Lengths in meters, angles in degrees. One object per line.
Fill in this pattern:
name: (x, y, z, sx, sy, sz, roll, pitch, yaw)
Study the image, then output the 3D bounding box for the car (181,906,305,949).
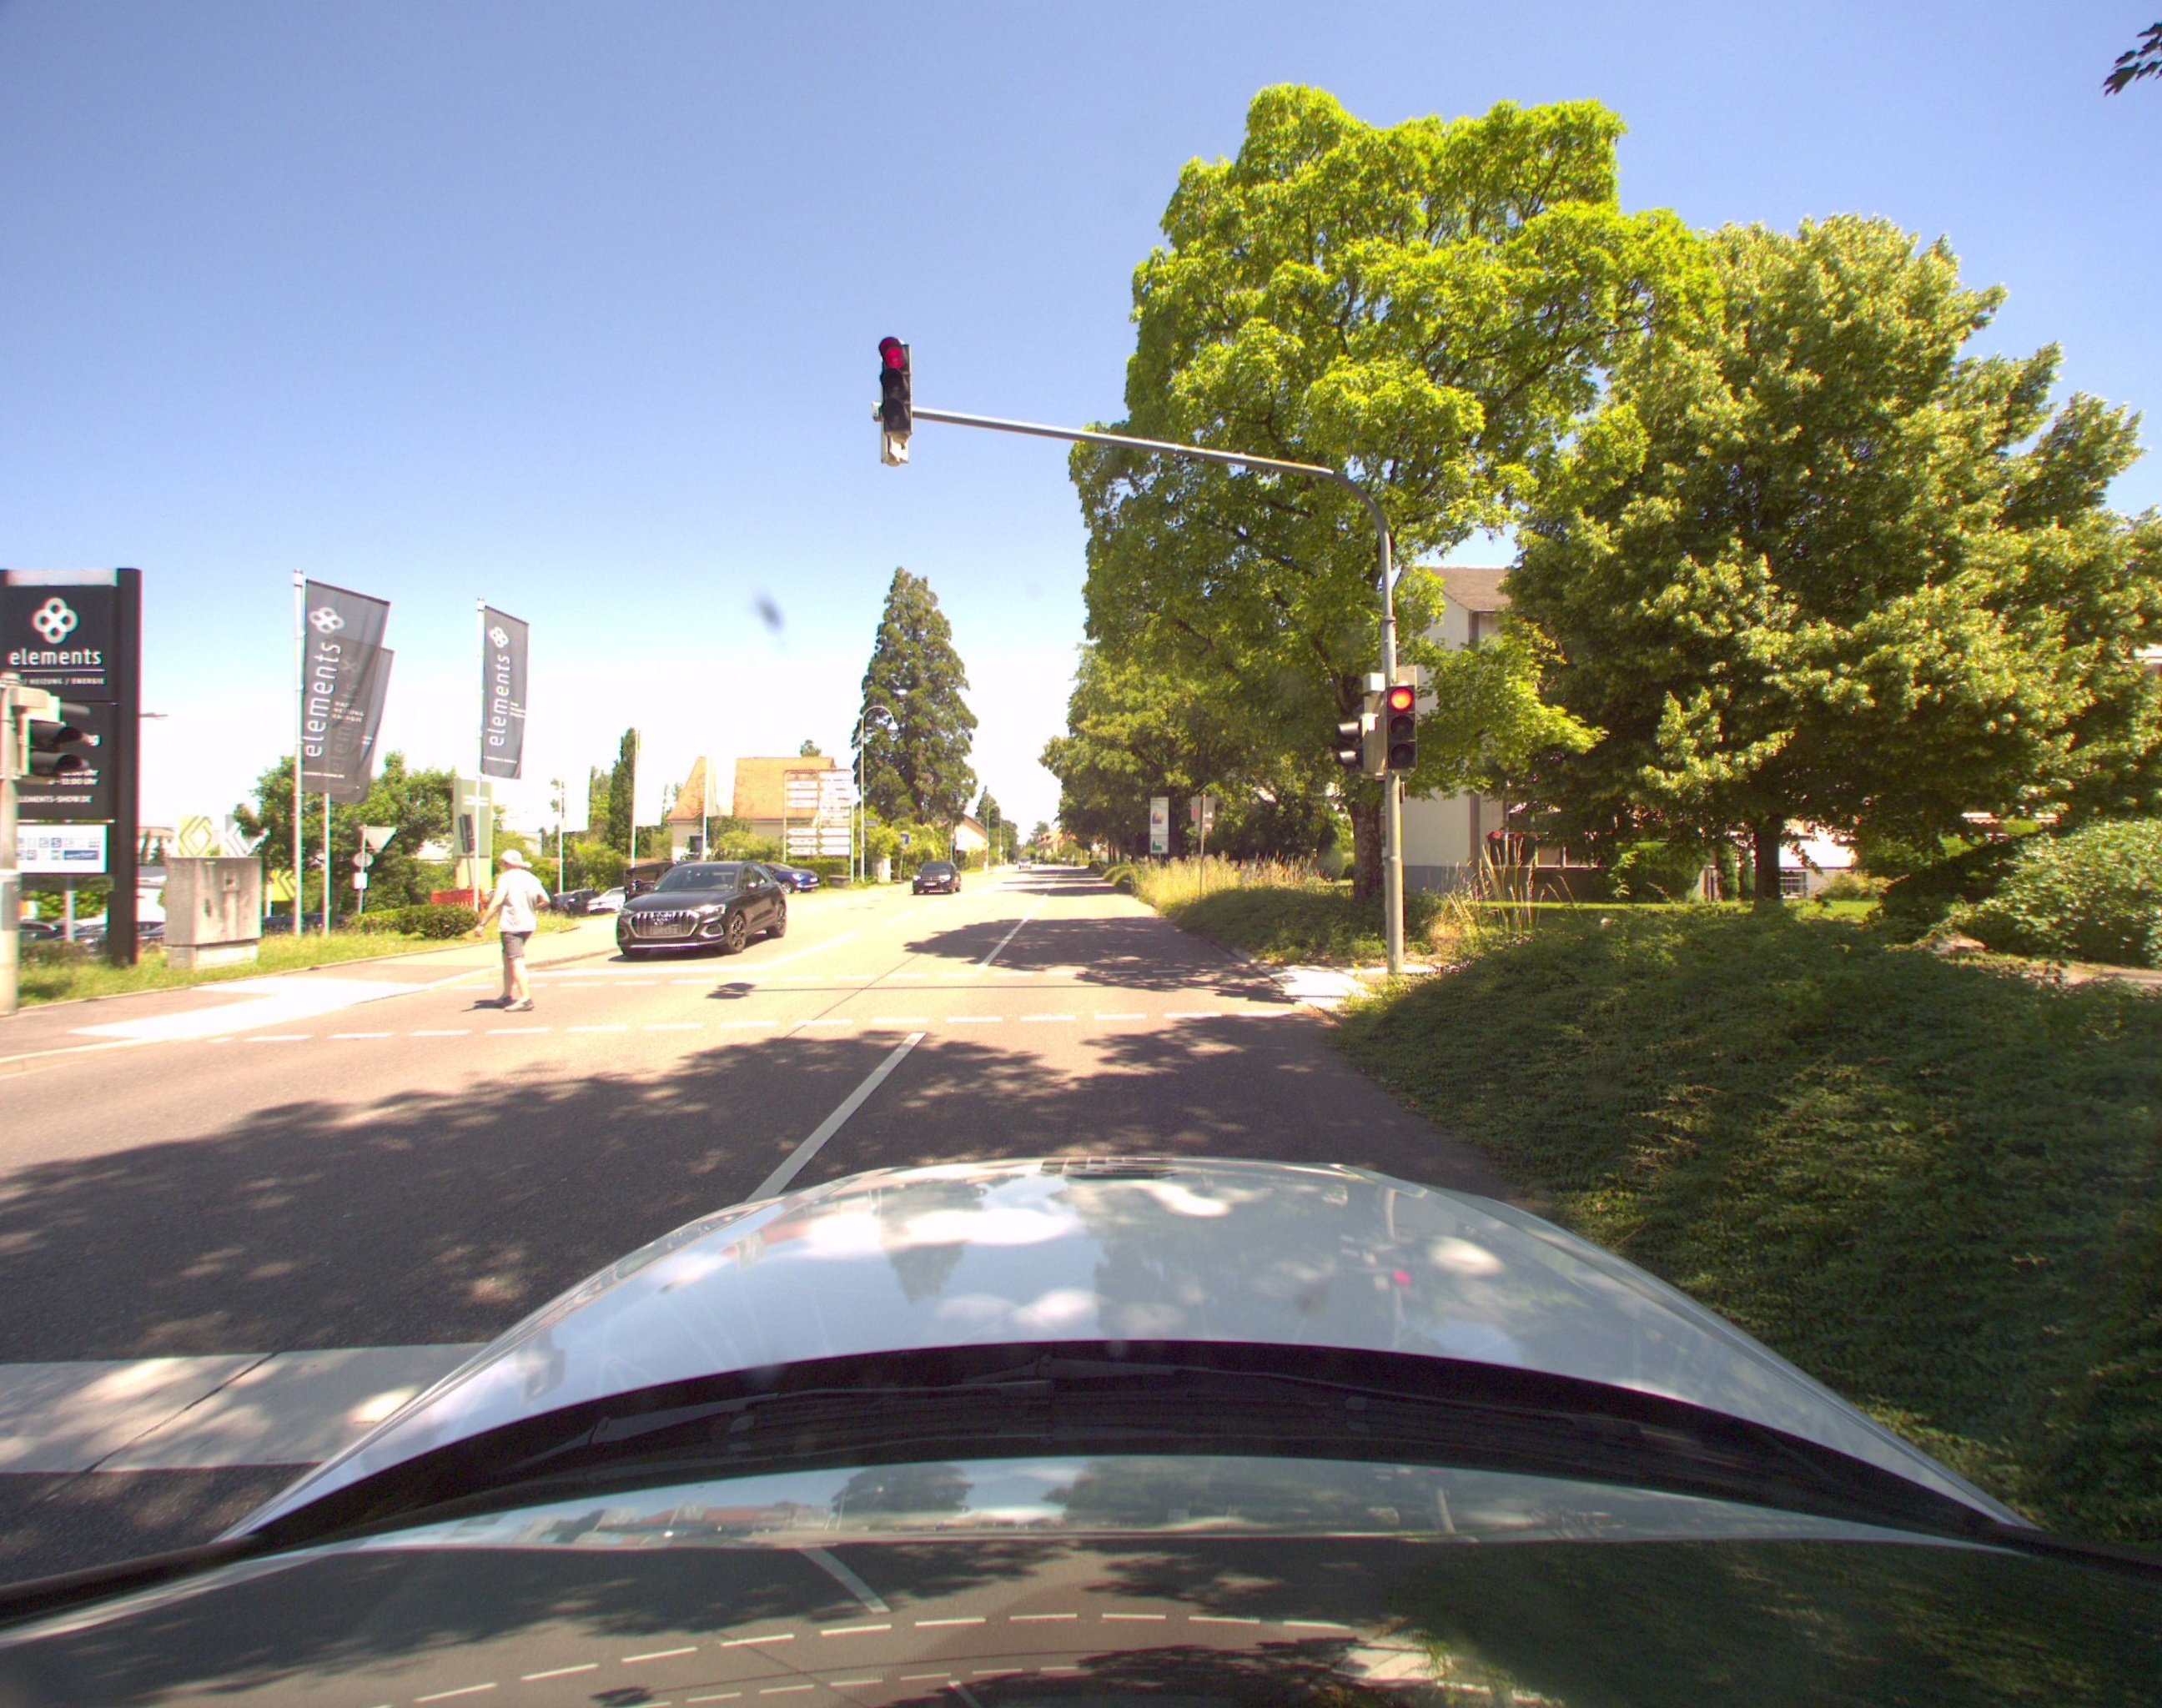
car: (-34.566, 2.983, 33.753, 1.648, 1.415, 3.853, -1, 0, -11)

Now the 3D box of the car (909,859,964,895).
car: (-6.535, 0.996, 37.225, 1.864, 1.507, 4.049, -1, 0, -2)

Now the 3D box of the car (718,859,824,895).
car: (-13.921, 1.018, 36.664, 4.109, 1.504, 1.782, -1, 0, 10)

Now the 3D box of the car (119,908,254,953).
car: (-37.018, 3.119, 33.853, 1.754, 1.486, 3.983, -1, 0, -12)

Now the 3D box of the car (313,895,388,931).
car: (-40.473, 3.217, 45.219, 1.816, 1.722, 4.059, 0, 0, -22)

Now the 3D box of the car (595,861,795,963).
car: (-6.882, 0.934, 15.101, 1.923, 1.555, 4.295, -1, 0, -5)

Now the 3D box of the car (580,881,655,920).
car: (-23.302, 2.287, 41.126, 1.806, 1.722, 4.081, 0, 0, -6)

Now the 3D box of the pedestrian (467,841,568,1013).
pedestrian: (-6.070, 0.751, 8.787, 0.538, 1.761, 0.706, -1, -1, 28)

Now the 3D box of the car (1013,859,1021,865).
car: (-16.206, 2.048, 205.918, 1.817, 1.552, 3.997, -1, 0, -2)

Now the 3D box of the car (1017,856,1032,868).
car: (-8.362, 1.162, 120.579, 1.804, 1.762, 4.571, 0, 0, 1)

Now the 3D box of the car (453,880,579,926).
car: (-23.663, 2.013, 34.309, 1.795, 1.722, 4.106, -2, -1, 16)
